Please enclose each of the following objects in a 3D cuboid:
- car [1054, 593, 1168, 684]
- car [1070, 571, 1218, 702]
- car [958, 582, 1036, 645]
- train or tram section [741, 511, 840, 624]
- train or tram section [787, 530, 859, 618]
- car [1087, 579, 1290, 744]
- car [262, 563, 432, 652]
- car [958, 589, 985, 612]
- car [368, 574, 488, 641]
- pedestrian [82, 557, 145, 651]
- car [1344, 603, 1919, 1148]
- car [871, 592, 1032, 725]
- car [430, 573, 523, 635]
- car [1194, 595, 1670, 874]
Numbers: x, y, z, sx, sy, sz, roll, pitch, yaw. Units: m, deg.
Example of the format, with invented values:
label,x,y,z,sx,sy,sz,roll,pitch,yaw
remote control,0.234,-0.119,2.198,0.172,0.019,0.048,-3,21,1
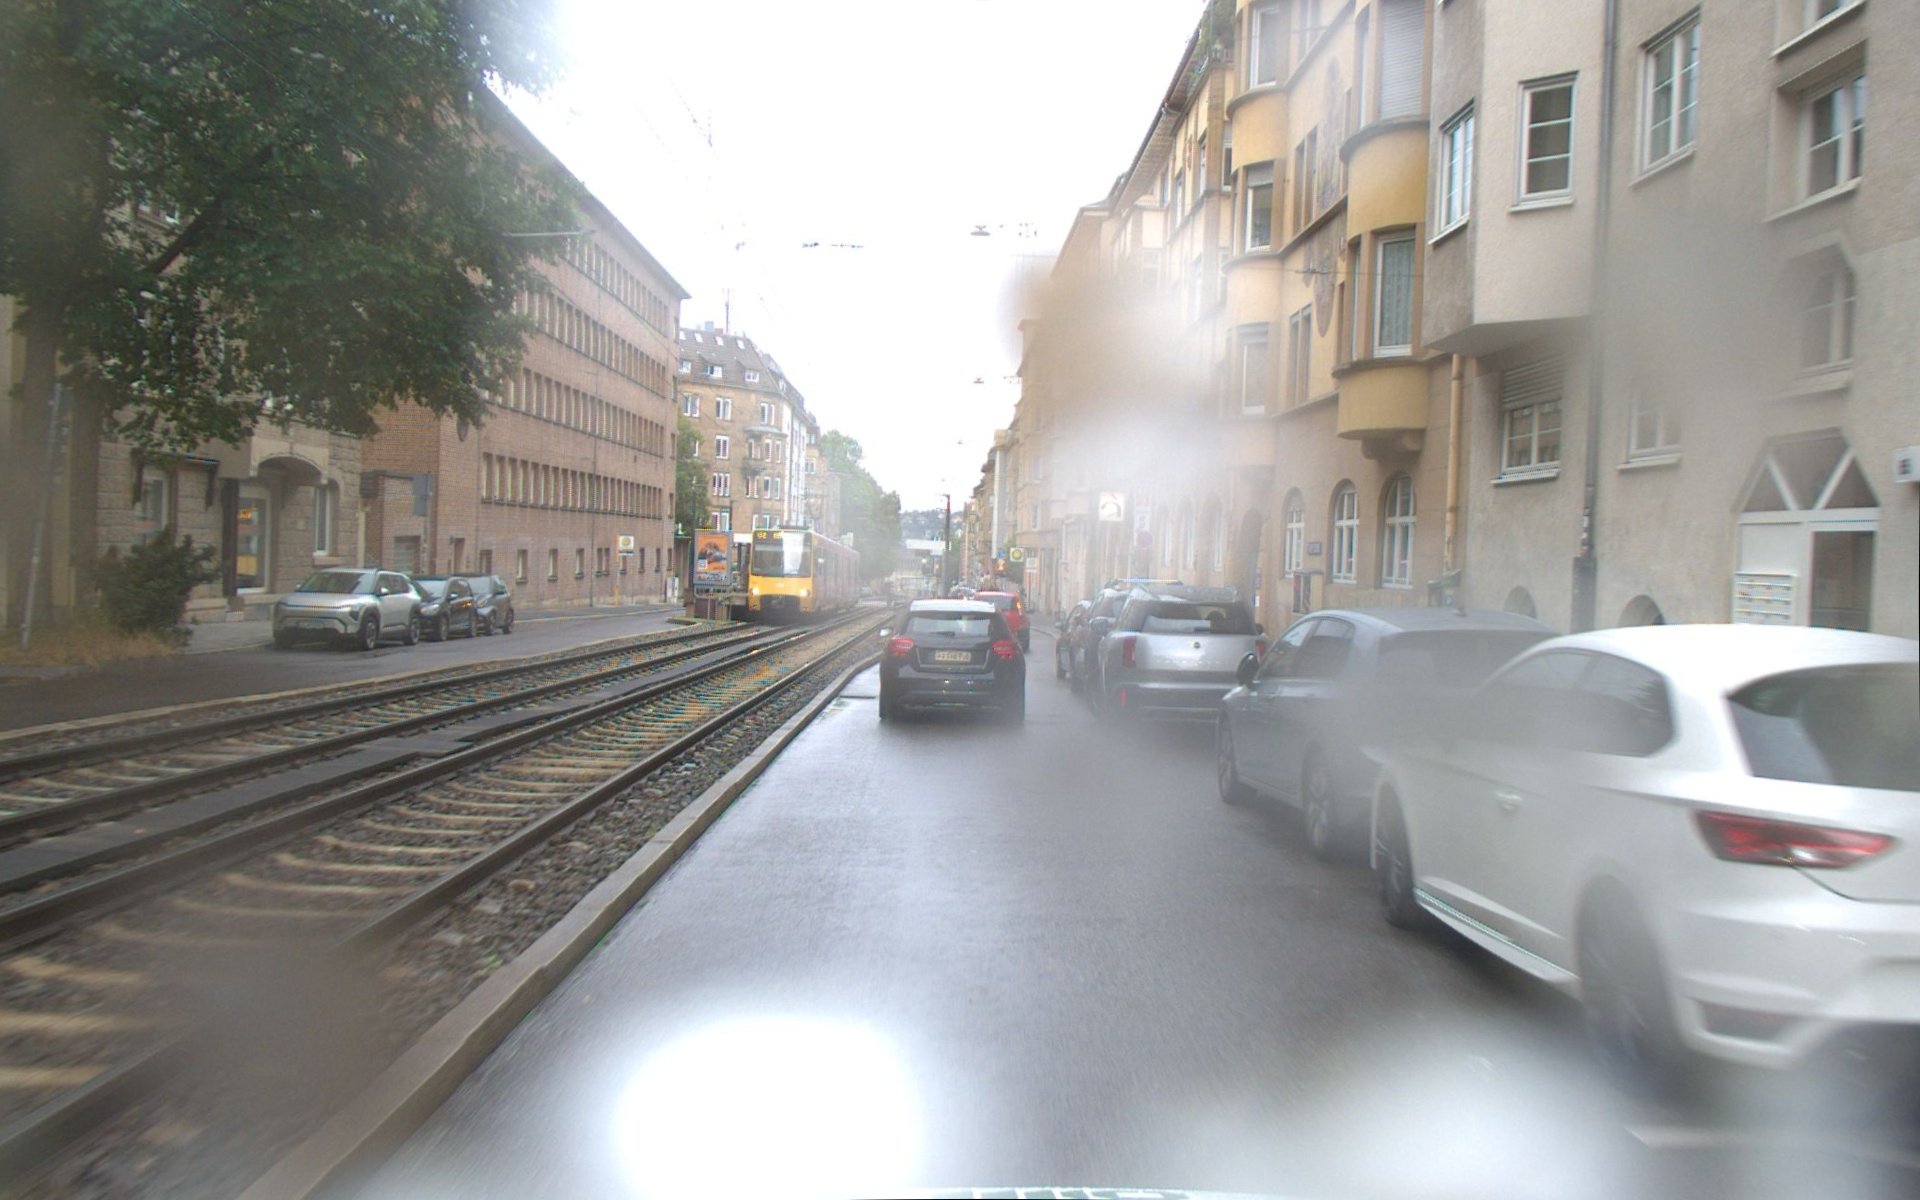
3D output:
label,x,y,z,sx,sy,sz,roll,pitch,yaw
car,2.669,0.667,29.786,1.559,1.465,3.308,3,-1,-2
car,2.701,0.517,25.169,1.742,1.780,4.548,1,0,0
car,0.951,0.350,44.809,1.953,1.552,4.245,2,0,0
train or tram section,-6.912,-1.266,69.797,2.690,4.132,17.210,1,0,-1
train or tram section,-6.972,-1.309,86.082,2.690,4.132,15.657,1,0,-1
car,2.493,0.634,19.107,1.803,1.636,4.761,1,0,2
car,-12.437,0.116,33.868,1.921,1.633,4.327,2,1,-2
car,0.841,0.060,117.881,1.848,1.552,4.246,2,0,1
car,-12.449,0.147,38.926,1.633,1.440,3.687,2,1,-1
pedestrian,-15.592,0.064,30.485,0.713,1.692,0.770,2,0,-1
car,2.930,0.742,6.520,1.753,1.410,4.394,1,0,-1
car,-0.105,0.664,20.790,1.797,1.478,3.901,1,0,0
car,-12.436,0.082,42.690,1.540,1.492,3.044,2,1,-2
car,2.887,0.750,11.189,1.795,1.493,4.373,1,0,-3
